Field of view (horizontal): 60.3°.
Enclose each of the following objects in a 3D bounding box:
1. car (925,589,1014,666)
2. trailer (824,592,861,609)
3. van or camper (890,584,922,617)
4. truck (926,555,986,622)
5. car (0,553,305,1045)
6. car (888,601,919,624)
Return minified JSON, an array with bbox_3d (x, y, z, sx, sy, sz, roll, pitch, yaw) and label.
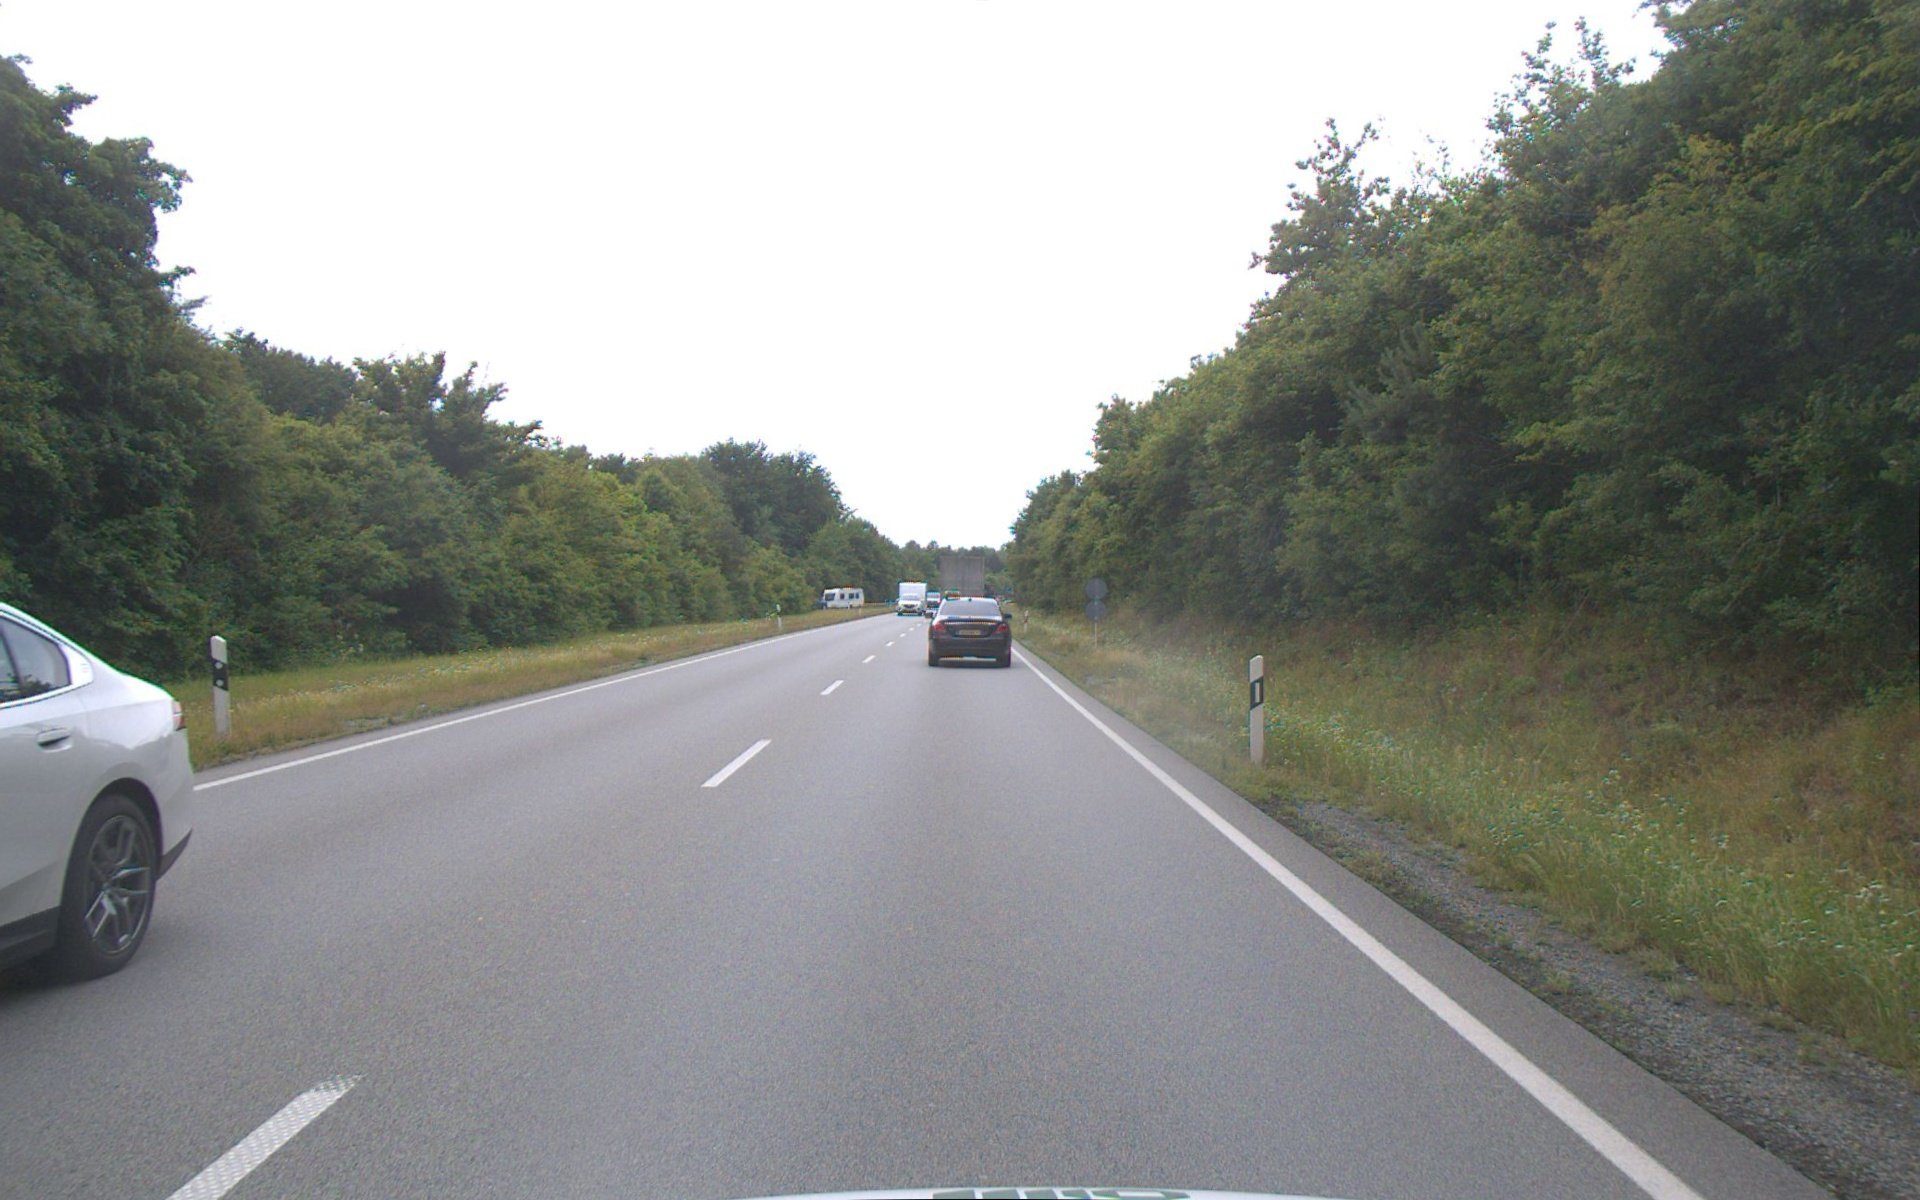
[{"bbox_3d":[0.161,0.574,36.752,1.755,1.579,3.998,1,0,-3],"label":"car"},{"bbox_3d":[-14.761,0.129,208.732,1.958,2.049,5.108,1,0,33],"label":"trailer"},{"bbox_3d":[-4.343,0.041,133.150,2.331,2.620,6.279,1,0,0],"label":"van or camper"},{"bbox_3d":[-0.149,-0.636,98.299,3.213,3.675,11.401,1,0,1],"label":"truck"},{"bbox_3d":[-4.071,0.629,5.168,1.924,1.601,5.450,1,0,-1],"label":"car"},{"bbox_3d":[-4.312,0.949,127.687,2.232,1.631,4.691,1,0,0],"label":"car"}]
